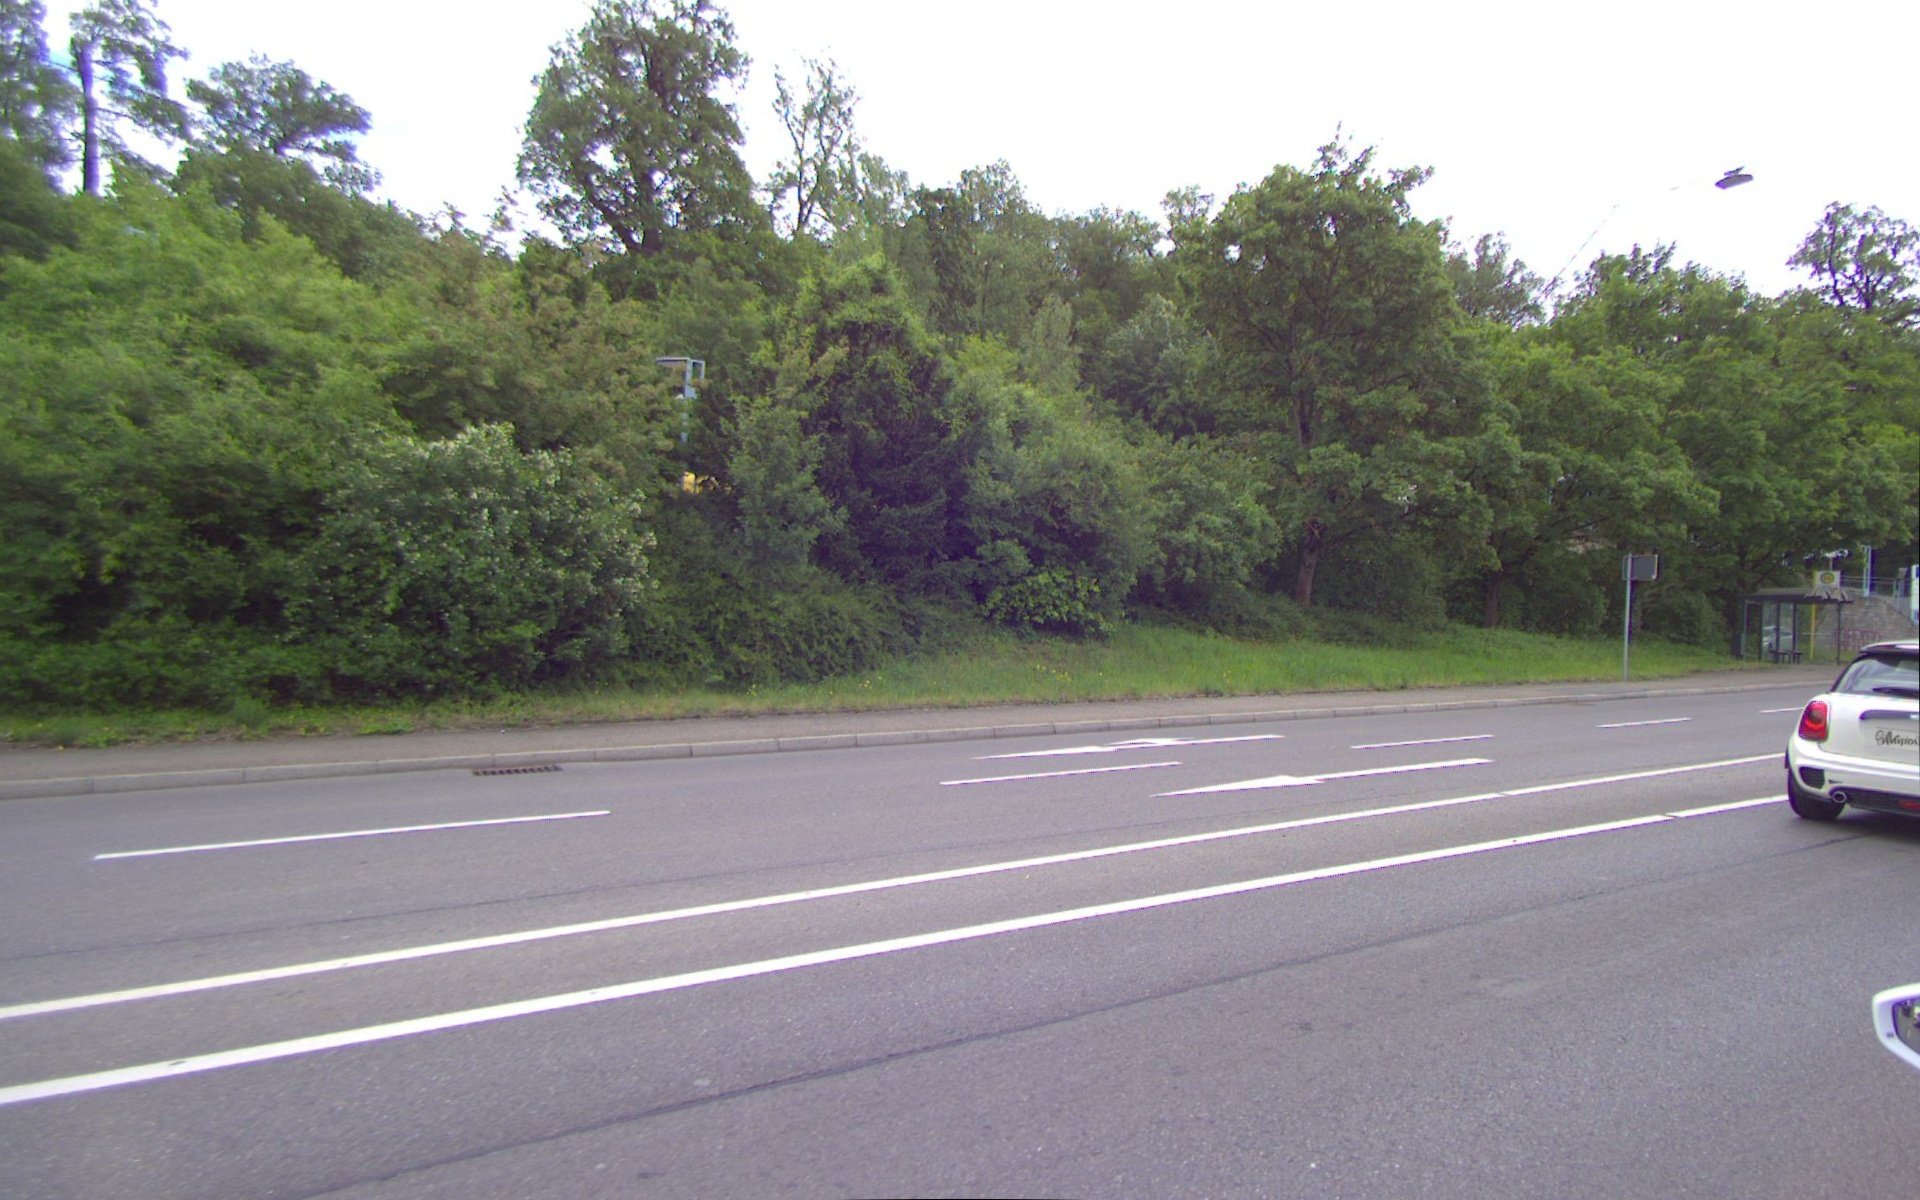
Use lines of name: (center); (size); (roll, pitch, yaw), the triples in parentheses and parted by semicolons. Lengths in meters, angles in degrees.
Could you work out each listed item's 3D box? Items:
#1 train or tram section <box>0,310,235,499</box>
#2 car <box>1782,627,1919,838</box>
train or tram section: (-19.140, -3.951, 19.420); (8.065, 3.084, 2.045); (3, 0, -33)
car: (8.020, 0.938, 7.636); (3.524, 1.412, 1.620); (2, -1, -30)
